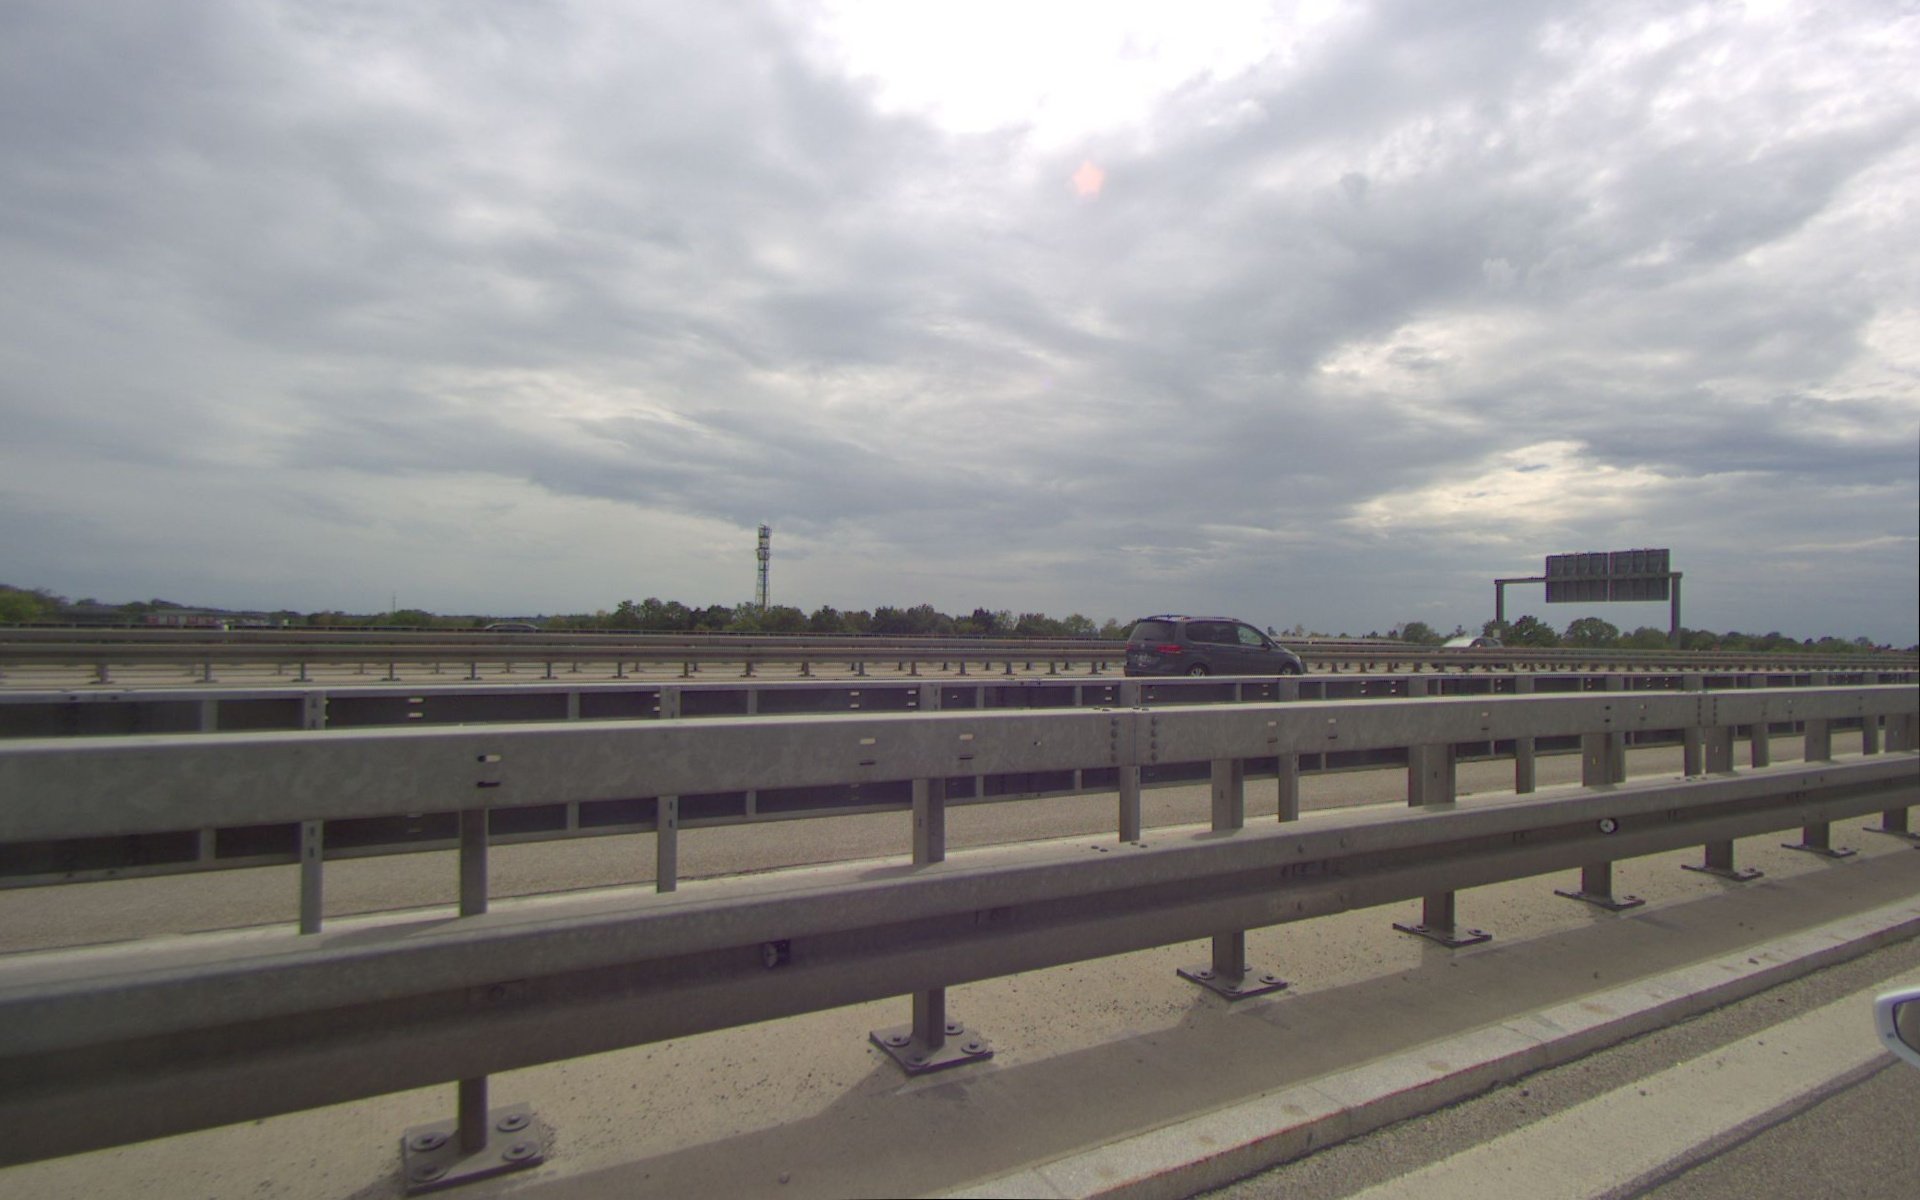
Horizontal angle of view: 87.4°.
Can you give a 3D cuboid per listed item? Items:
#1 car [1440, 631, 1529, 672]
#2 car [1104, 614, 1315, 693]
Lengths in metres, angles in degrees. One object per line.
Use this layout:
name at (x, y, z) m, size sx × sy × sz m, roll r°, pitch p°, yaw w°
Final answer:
car at (25.255, 2.447, 48.337) m, size 3.953 × 1.812 × 1.984 m, roll 2°, pitch 0°, yaw -30°
car at (5.584, 1.156, 22.350) m, size 4.561 × 1.567 × 1.871 m, roll 2°, pitch 0°, yaw -31°
